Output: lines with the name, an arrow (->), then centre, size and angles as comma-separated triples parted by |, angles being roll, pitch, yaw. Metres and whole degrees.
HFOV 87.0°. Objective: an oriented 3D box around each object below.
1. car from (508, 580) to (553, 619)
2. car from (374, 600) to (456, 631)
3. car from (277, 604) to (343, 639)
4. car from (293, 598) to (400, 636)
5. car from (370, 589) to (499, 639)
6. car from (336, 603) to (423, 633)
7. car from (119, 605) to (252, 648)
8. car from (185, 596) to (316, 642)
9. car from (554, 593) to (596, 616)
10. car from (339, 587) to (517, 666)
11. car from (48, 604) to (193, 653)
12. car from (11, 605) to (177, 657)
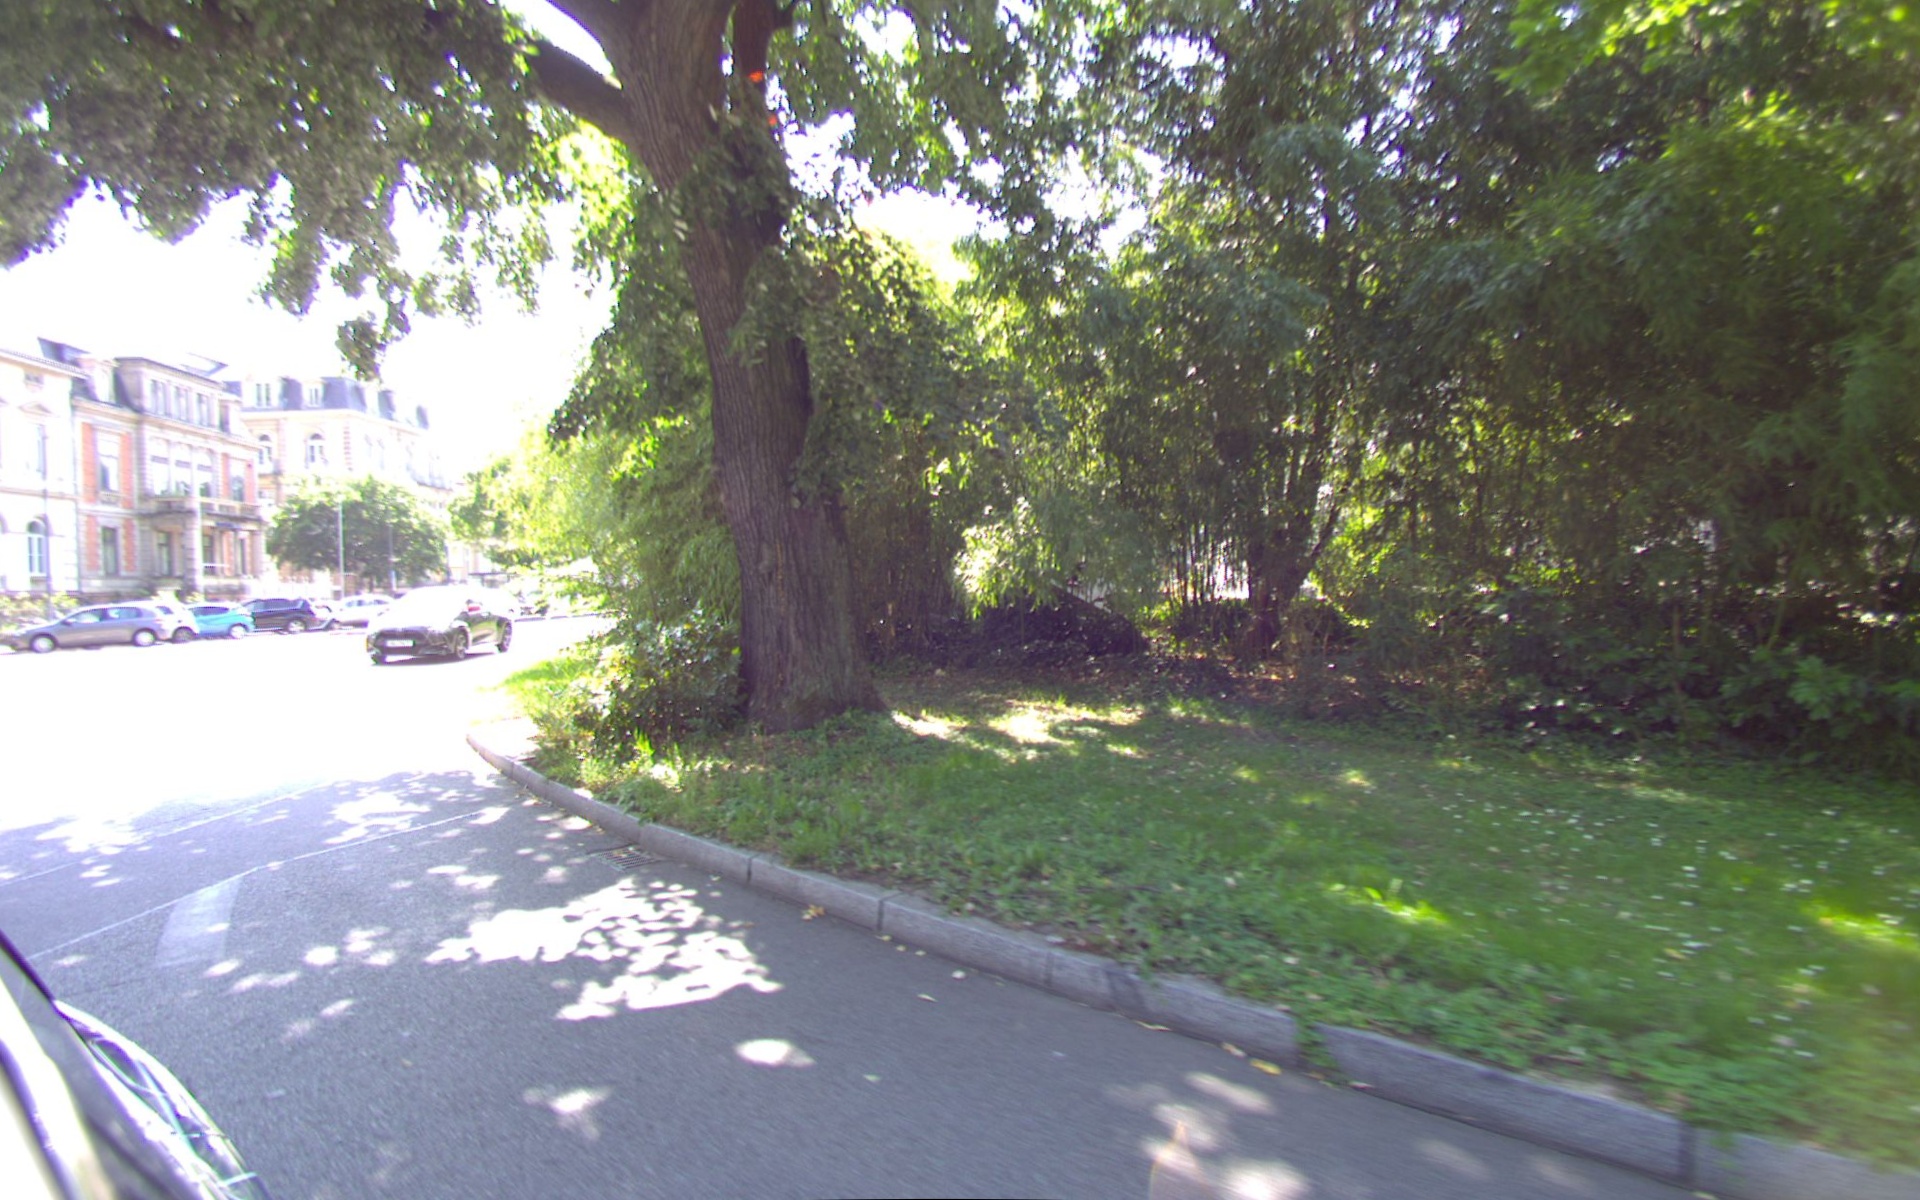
car -> -30.336, -0.036, 71.611 | 1.967, 2.623, 5.332 | -2, 1, -13
car -> -31.198, 0.853, 57.991 | 3.819, 1.587, 1.752 | -3, 1, -43
car -> -30.142, 0.978, 46.960 | 1.199, 1.493, 2.260 | -2, 1, 37
car -> -30.544, 0.825, 50.467 | 1.713, 1.642, 4.256 | -2, 1, 43
car -> -17.393, 0.419, 33.753 | 1.770, 1.523, 4.272 | 0, 1, 6
car -> -31.006, 0.951, 54.108 | 3.763, 1.427, 1.607 | -3, 1, -43
car -> -29.775, 0.992, 38.965 | 1.712, 1.453, 3.761 | -2, 1, 40
car -> -30.029, 0.783, 42.920 | 1.712, 1.709, 4.217 | -2, 1, 40
car -> -28.948, 0.312, 76.207 | 1.794, 1.638, 4.888 | -2, 1, -7
car -> -10.970, 0.468, 21.234 | 1.765, 1.462, 4.285 | 0, 1, -5
car -> -29.620, 0.976, 35.772 | 1.714, 1.523, 3.758 | -2, 1, 43
car -> -28.603, 0.984, 33.509 | 4.046, 1.472, 1.830 | -3, 1, -43
